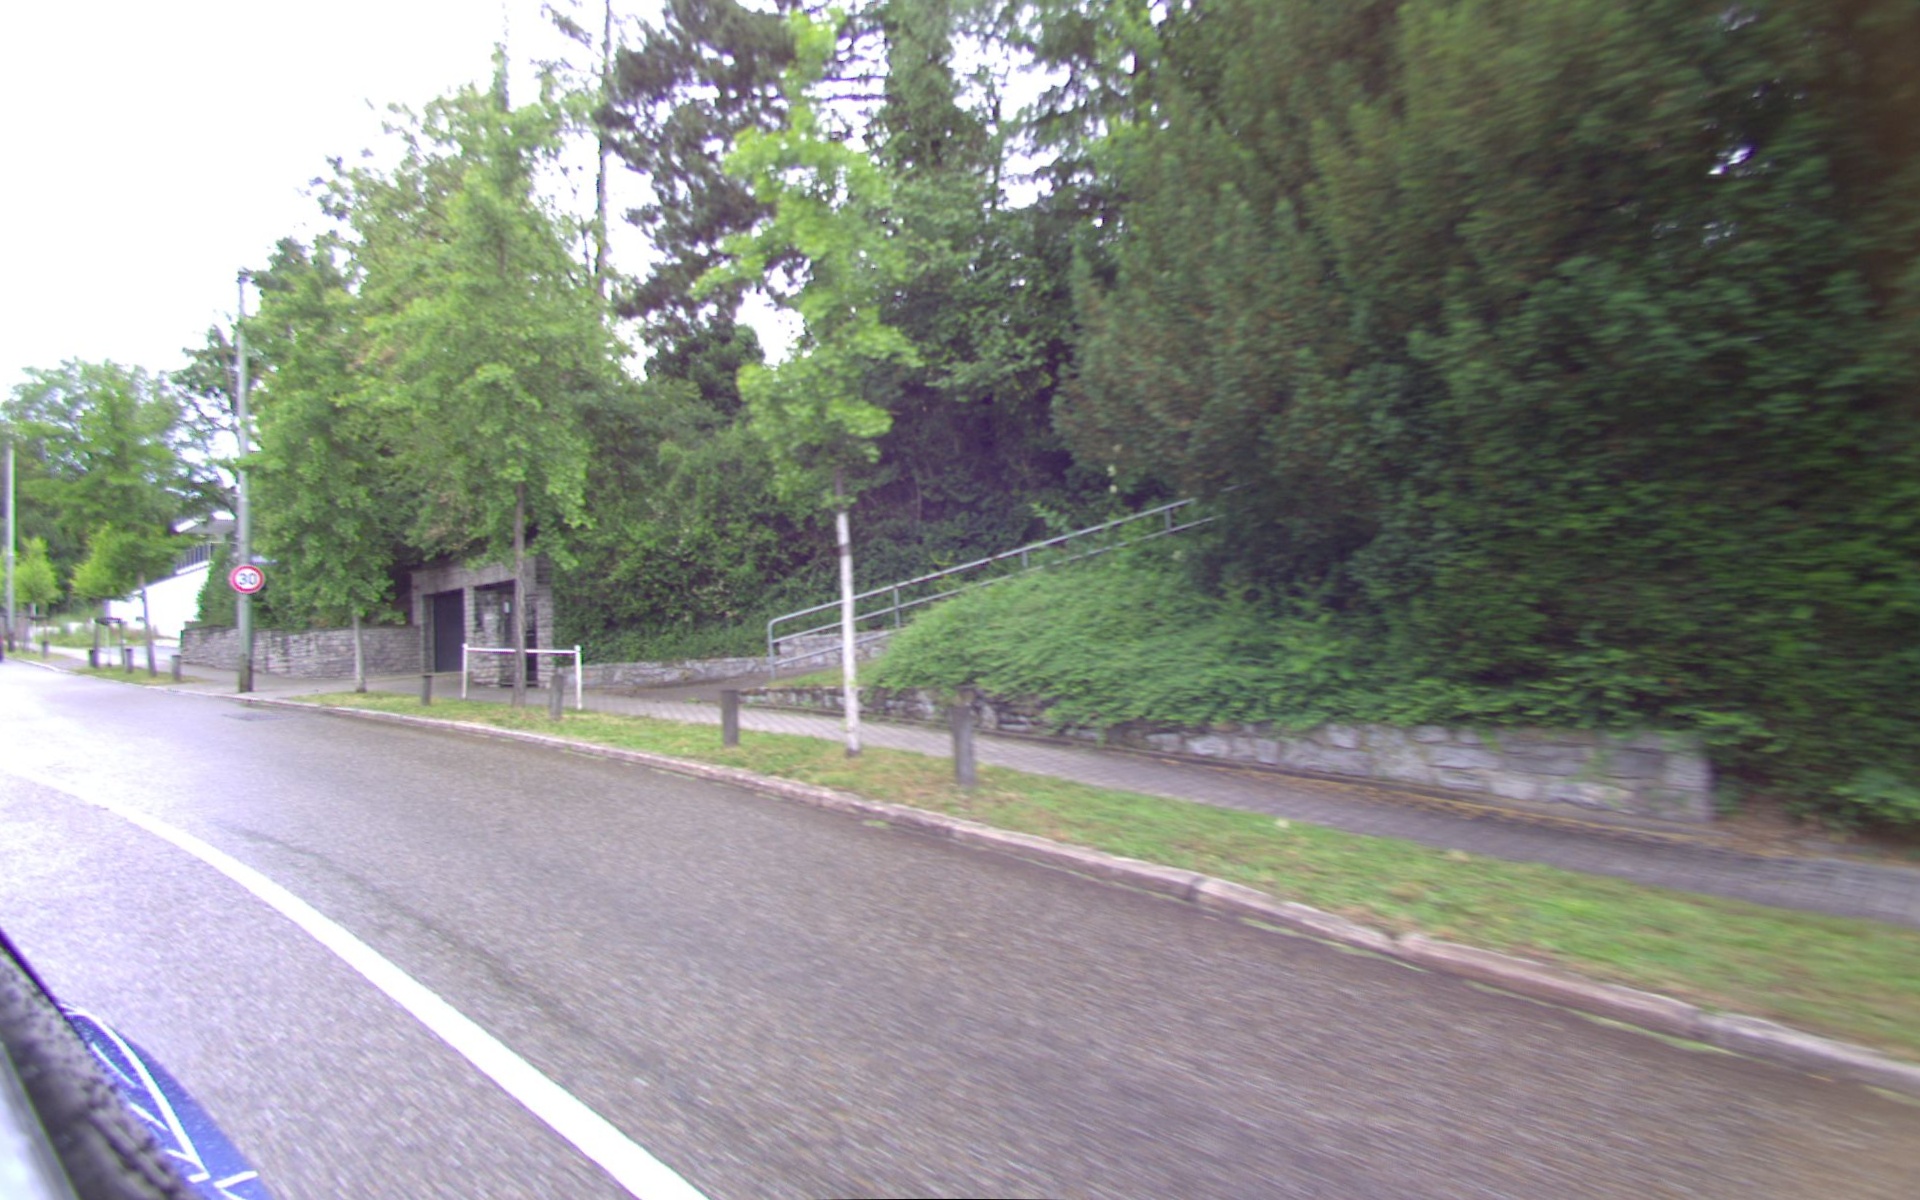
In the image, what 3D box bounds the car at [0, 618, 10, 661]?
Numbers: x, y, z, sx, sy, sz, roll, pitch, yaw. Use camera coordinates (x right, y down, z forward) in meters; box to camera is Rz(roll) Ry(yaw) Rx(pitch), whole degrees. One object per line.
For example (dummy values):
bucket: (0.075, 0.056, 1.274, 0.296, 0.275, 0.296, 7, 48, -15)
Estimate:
car: (-38.441, 1.466, 39.186, 4.584, 1.597, 1.891, 0, -3, 41)
